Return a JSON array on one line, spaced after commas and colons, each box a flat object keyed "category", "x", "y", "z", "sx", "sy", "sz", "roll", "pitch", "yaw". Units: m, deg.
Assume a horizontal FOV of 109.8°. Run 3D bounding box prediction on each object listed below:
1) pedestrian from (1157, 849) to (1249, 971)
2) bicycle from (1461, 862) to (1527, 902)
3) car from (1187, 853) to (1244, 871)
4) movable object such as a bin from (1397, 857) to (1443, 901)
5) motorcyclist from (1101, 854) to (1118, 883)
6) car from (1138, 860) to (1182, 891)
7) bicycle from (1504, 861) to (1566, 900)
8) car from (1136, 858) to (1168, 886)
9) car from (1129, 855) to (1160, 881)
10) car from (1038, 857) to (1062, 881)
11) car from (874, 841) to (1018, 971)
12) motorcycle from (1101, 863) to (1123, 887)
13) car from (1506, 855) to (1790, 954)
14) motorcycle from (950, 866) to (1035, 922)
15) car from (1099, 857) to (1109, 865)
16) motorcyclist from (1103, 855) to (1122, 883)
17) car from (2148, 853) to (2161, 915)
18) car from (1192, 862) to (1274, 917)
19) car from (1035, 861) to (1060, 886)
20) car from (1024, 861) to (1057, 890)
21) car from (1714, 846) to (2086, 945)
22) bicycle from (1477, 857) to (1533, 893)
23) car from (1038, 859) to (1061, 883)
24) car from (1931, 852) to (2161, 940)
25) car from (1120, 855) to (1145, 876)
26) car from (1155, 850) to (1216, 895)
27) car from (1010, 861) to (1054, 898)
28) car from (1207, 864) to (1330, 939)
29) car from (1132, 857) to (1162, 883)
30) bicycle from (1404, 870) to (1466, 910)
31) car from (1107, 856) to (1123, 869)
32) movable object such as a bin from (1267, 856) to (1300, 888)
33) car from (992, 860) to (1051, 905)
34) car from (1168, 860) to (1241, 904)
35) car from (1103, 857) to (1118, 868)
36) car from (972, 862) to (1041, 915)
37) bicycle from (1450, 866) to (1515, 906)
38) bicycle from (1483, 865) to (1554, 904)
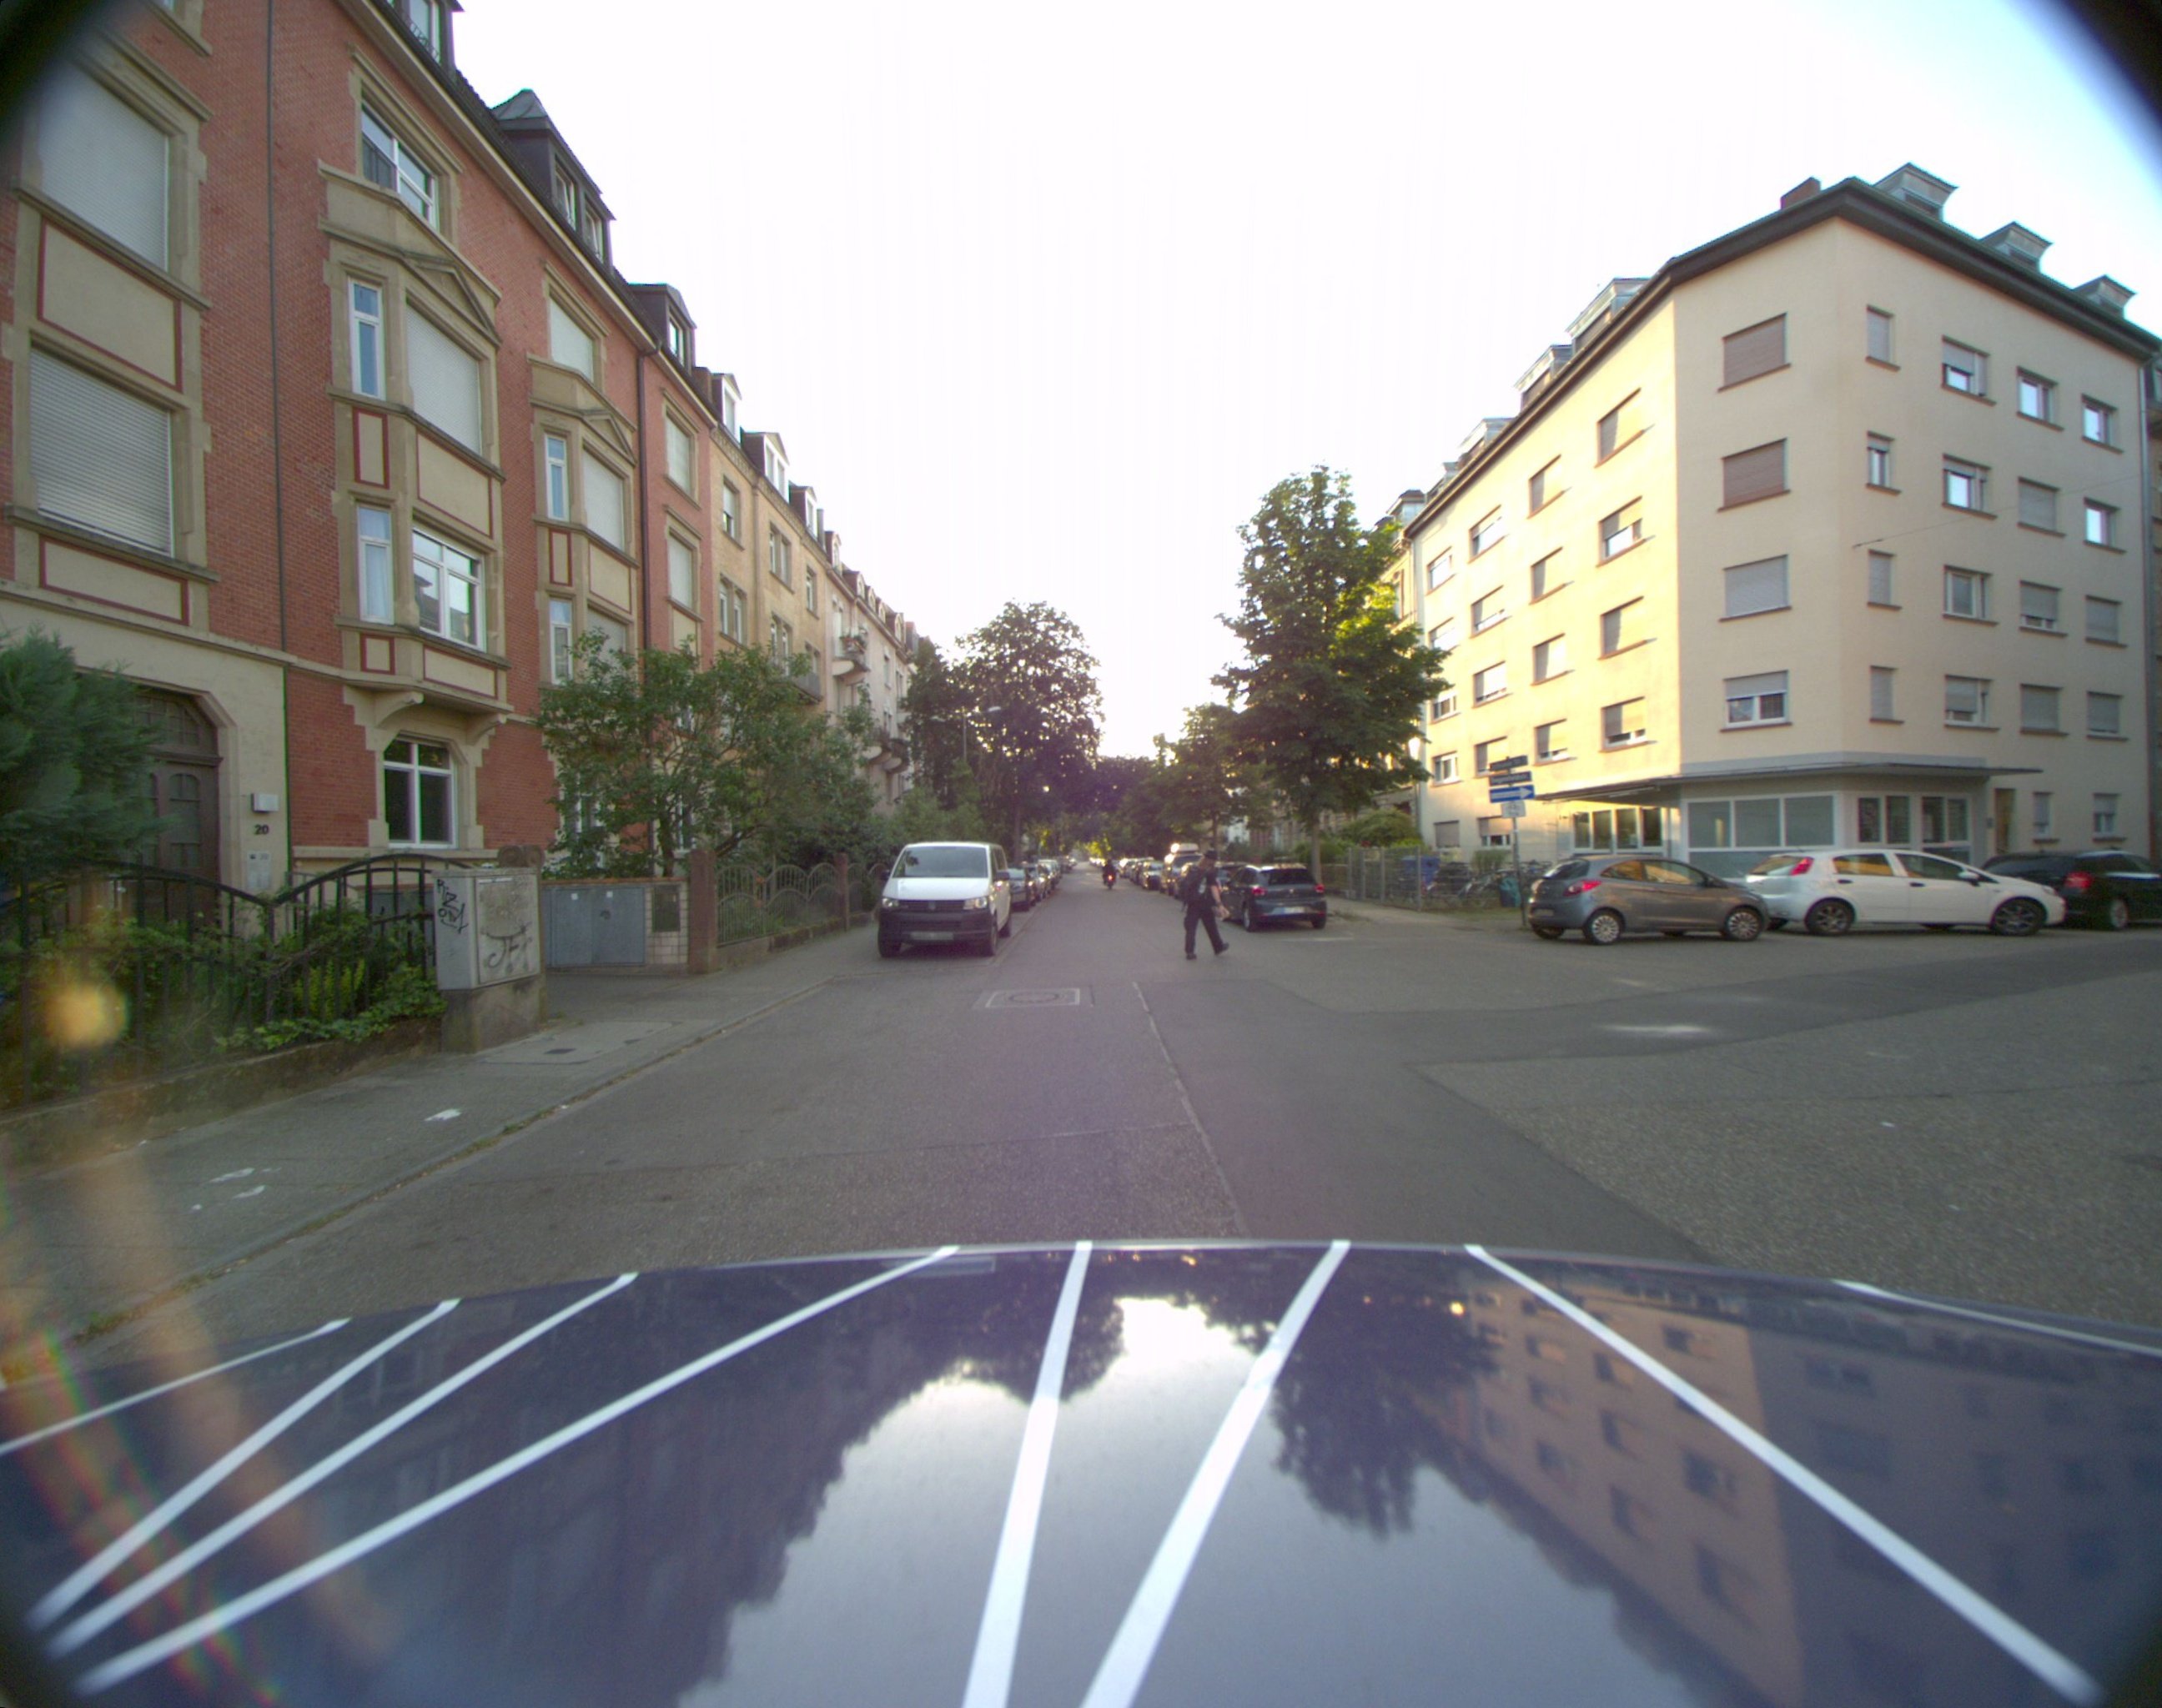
[{"category": "pedestrian", "x": 1.840, "y": 0.812, "z": 11.497, "sx": 0.960, "sy": 1.712, "sz": 0.889, "roll": -3, "pitch": 1, "yaw": -33}, {"category": "bicycle", "x": 11.884, "y": 0.798, "z": 21.902, "sx": 0.502, "sy": 1.086, "sz": 1.545, "roll": -3, "pitch": 0, "yaw": -37}, {"category": "car", "x": 11.043, "y": 0.618, "z": 62.643, "sx": 4.413, "sy": 1.333, "sz": 1.626, "roll": -2, "pitch": 0, "yaw": 1}, {"category": "movable object such as a bin", "x": 10.910, "y": 0.783, "z": 24.500, "sx": 0.868, "sy": 1.344, "sz": 1.398, "roll": -3, "pitch": 0, "yaw": 2}, {"category": "motorcyclist", "x": 1.536, "y": 0.785, "z": 40.680, "sx": 0.789, "sy": 1.531, "sz": 0.546, "roll": 2, "pitch": 1, "yaw": 10}, {"category": "car", "x": 4.036, "y": 1.067, "z": 39.353, "sx": 1.733, "sy": 1.433, "sz": 4.023, "roll": -2, "pitch": 0, "yaw": -2}, {"category": "bicycle", "x": 13.929, "y": 0.805, "z": 23.313, "sx": 1.635, "sy": 1.086, "sz": 0.500, "roll": -3, "pitch": 1, "yaw": -6}, {"category": "car", "x": 4.076, "y": 1.008, "z": 44.068, "sx": 1.441, "sy": 1.485, "sz": 3.298, "roll": -2, "pitch": 0, "yaw": -2}, {"category": "car", "x": 4.436, "y": 0.942, "z": 53.568, "sx": 1.866, "sy": 1.653, "sz": 4.021, "roll": -2, "pitch": 0, "yaw": 1}, {"category": "car", "x": -2.356, "y": 1.102, "z": 58.557, "sx": 1.737, "sy": 1.692, "sz": 4.168, "roll": -2, "pitch": 0, "yaw": -2}, {"category": "car", "x": -2.354, "y": 0.819, "z": 14.692, "sx": 1.866, "sy": 2.027, "sz": 5.544, "roll": 0, "pitch": 0, "yaw": -1}, {"category": "motorcycle", "x": 1.701, "y": 1.140, "z": 41.347, "sx": 0.848, "sy": 1.202, "sz": 2.076, "roll": 2, "pitch": 1, "yaw": 10}, {"category": "car", "x": 9.661, "y": 0.826, "z": 13.179, "sx": 3.515, "sy": 1.499, "sz": 1.845, "roll": -2, "pitch": -1, "yaw": -1}, {"category": "motorcycle", "x": -2.518, "y": 1.102, "z": 21.586, "sx": 2.099, "sy": 1.474, "sz": 1.130, "roll": 0, "pitch": 1, "yaw": -33}, {"category": "car", "x": 4.555, "y": 1.393, "z": 148.663, "sx": 1.840, "sy": 1.484, "sz": 3.641, "roll": -2, "pitch": 0, "yaw": 0}, {"category": "motorcyclist", "x": 1.715, "y": 0.819, "z": 41.447, "sx": 0.891, "sy": 1.496, "sz": 0.970, "roll": 2, "pitch": 1, "yaw": 10}, {"category": "car", "x": 26.593, "y": 0.659, "z": 17.239, "sx": 4.004, "sy": 1.399, "sz": 1.872, "roll": 0, "pitch": -1, "yaw": -22}, {"category": "car", "x": 4.454, "y": 0.998, "z": 22.849, "sx": 1.746, "sy": 1.412, "sz": 4.143, "roll": -2, "pitch": 0, "yaw": 2}, {"category": "car", "x": -2.123, "y": 1.210, "z": 48.545, "sx": 1.479, "sy": 1.498, "sz": 3.928, "roll": -2, "pitch": 0, "yaw": -2}, {"category": "car", "x": -2.243, "y": 1.194, "z": 43.324, "sx": 1.737, "sy": 1.498, "sz": 4.163, "roll": -2, "pitch": 0, "yaw": -2}, {"category": "car", "x": 14.182, "y": 0.702, "z": 13.474, "sx": 4.066, "sy": 1.499, "sz": 1.975, "roll": -3, "pitch": 0, "yaw": 12}, {"category": "bicycle", "x": 13.719, "y": 0.675, "z": 24.613, "sx": 1.548, "sy": 1.086, "sz": 0.500, "roll": -3, "pitch": 1, "yaw": -6}, {"category": "car", "x": -2.179, "y": 1.181, "z": 52.940, "sx": 1.502, "sy": 1.538, "sz": 3.338, "roll": -2, "pitch": 0, "yaw": -2}, {"category": "car", "x": 18.562, "y": 0.711, "z": 14.212, "sx": 4.082, "sy": 1.430, "sz": 1.996, "roll": -1, "pitch": 0, "yaw": -16}, {"category": "car", "x": 4.352, "y": 0.970, "z": 64.873, "sx": 1.677, "sy": 1.627, "sz": 3.940, "roll": -2, "pitch": 0, "yaw": -3}, {"category": "car", "x": 4.451, "y": 0.746, "z": 33.042, "sx": 1.866, "sy": 1.768, "sz": 4.622, "roll": -2, "pitch": 0, "yaw": -1}, {"category": "car", "x": -2.232, "y": 1.135, "z": 35.461, "sx": 1.590, "sy": 1.516, "sz": 3.603, "roll": -3, "pitch": 0, "yaw": 2}, {"category": "car", "x": 4.292, "y": 1.030, "z": 18.120, "sx": 1.679, "sy": 1.453, "sz": 4.463, "roll": -2, "pitch": 0, "yaw": -2}, {"category": "car", "x": 4.191, "y": 0.987, "z": 48.526, "sx": 1.682, "sy": 1.489, "sz": 3.626, "roll": -2, "pitch": 0, "yaw": 2}, {"category": "bicycle", "x": 10.034, "y": 1.002, "z": 21.635, "sx": 0.689, "sy": 1.019, "sz": 1.931, "roll": -3, "pitch": 0, "yaw": -6}, {"category": "car", "x": 4.404, "y": 1.096, "z": 98.804, "sx": 1.953, "sy": 1.484, "sz": 3.738, "roll": -2, "pitch": 0, "yaw": 0}, {"category": "movable object such as a bin", "x": 9.227, "y": 0.817, "z": 34.626, "sx": 0.948, "sy": 1.379, "sz": 1.551, "roll": -3, "pitch": 0, "yaw": -3}, {"category": "car", "x": -2.335, "y": 1.086, "z": 30.962, "sx": 1.761, "sy": 1.573, "sz": 4.842, "roll": -3, "pitch": 0, "yaw": 2}, {"category": "car", "x": 4.464, "y": 0.972, "z": 28.101, "sx": 1.866, "sy": 1.404, "sz": 4.590, "roll": -2, "pitch": 0, "yaw": -1}, {"category": "car", "x": 4.072, "y": 1.168, "z": 104.444, "sx": 1.840, "sy": 1.484, "sz": 3.641, "roll": -2, "pitch": 0, "yaw": 0}, {"category": "car", "x": -2.420, "y": 1.093, "z": 25.709, "sx": 1.724, "sy": 1.542, "sz": 4.325, "roll": -2, "pitch": 0, "yaw": 2}, {"category": "bicycle", "x": 11.420, "y": 0.912, "z": 21.662, "sx": 0.502, "sy": 1.086, "sz": 1.545, "roll": -3, "pitch": 0, "yaw": -37}, {"category": "bicycle", "x": 12.530, "y": 0.869, "z": 21.802, "sx": 0.386, "sy": 1.086, "sz": 1.707, "roll": -3, "pitch": 0, "yaw": -36}]
